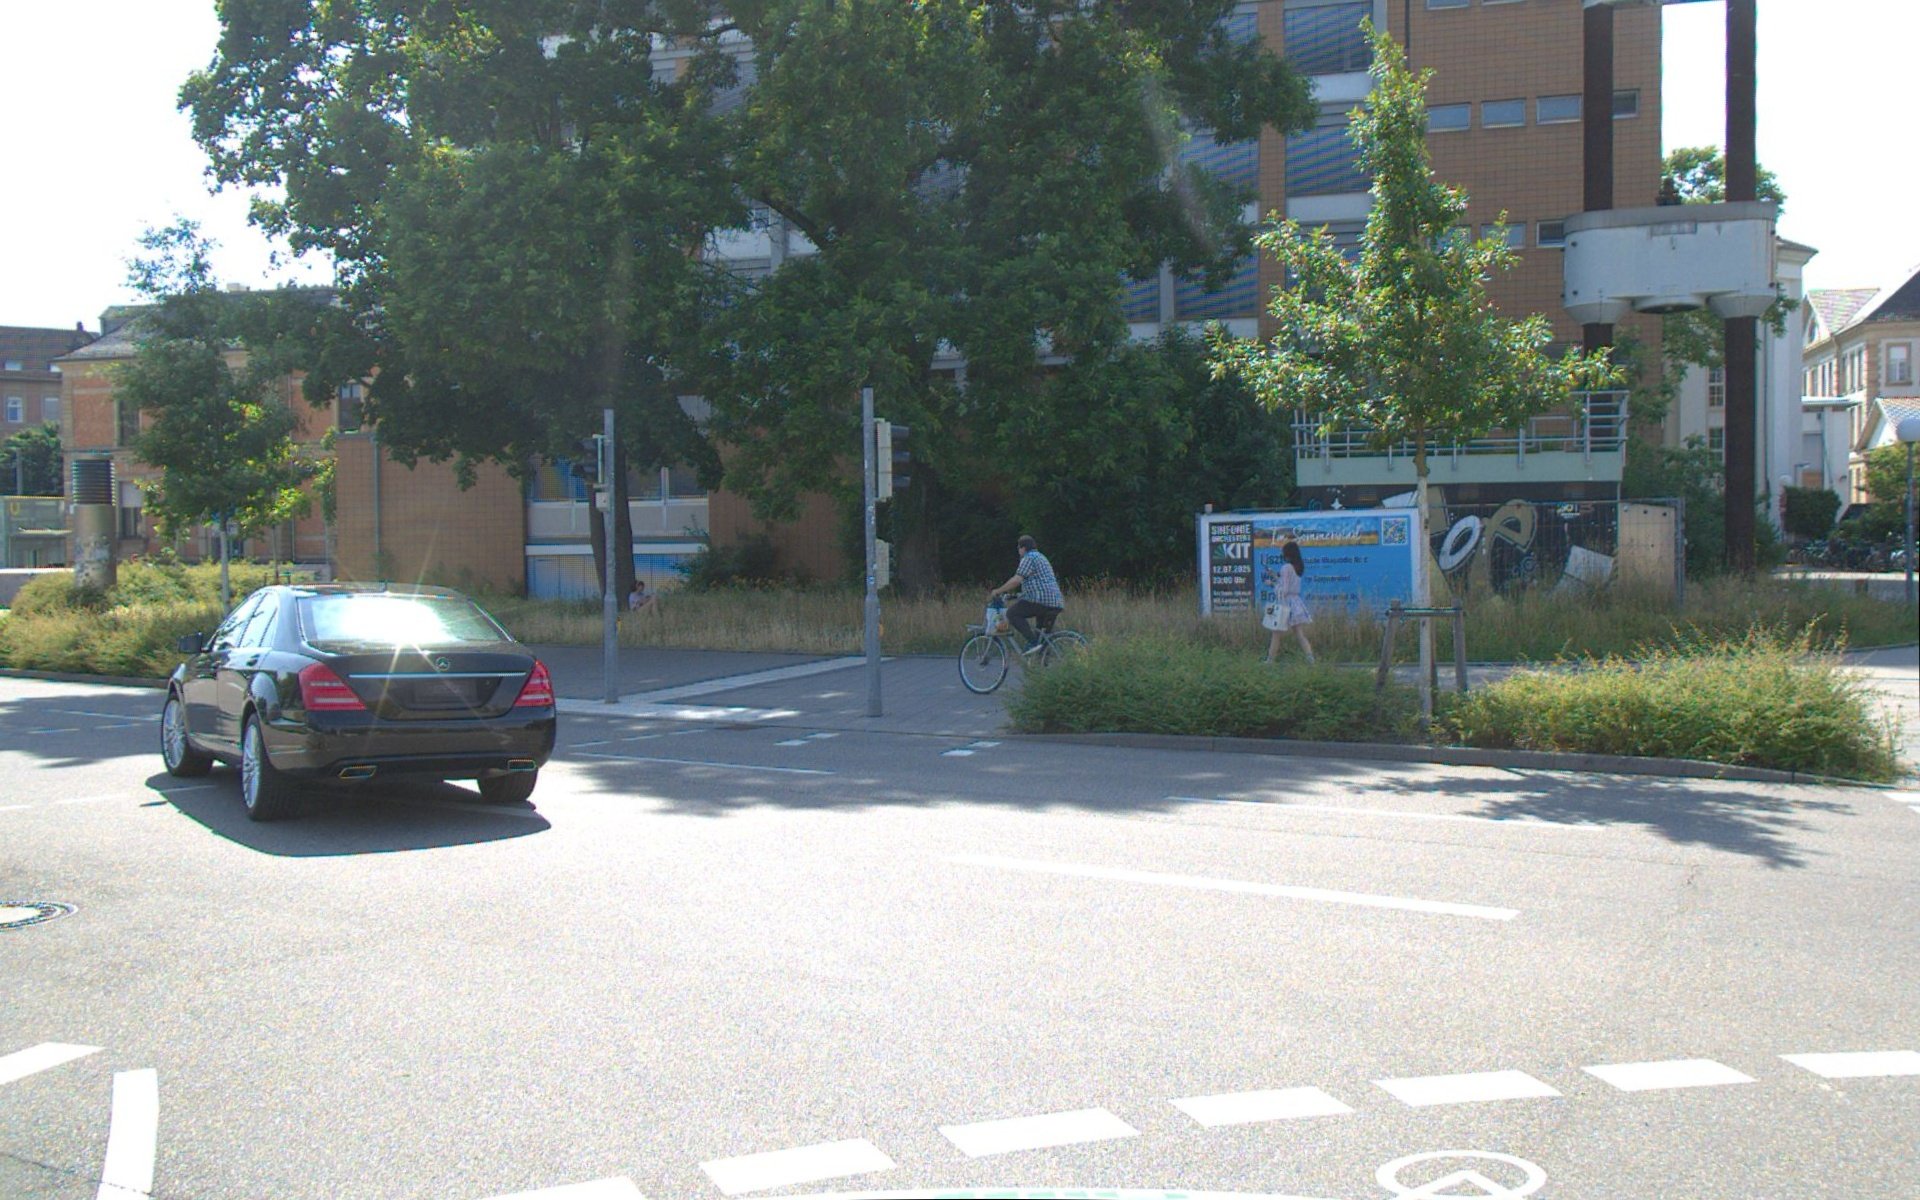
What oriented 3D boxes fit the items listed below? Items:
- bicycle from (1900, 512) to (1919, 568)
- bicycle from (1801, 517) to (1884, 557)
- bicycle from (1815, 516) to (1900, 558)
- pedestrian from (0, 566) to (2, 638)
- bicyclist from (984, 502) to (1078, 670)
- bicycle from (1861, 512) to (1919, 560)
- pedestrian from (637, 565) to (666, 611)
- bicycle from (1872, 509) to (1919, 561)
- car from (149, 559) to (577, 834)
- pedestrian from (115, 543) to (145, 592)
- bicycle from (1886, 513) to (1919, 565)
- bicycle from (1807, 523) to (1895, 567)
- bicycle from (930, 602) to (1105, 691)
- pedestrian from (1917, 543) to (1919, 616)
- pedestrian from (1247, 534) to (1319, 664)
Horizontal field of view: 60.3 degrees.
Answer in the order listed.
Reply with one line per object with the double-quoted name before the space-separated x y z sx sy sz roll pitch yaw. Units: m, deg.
"bicycle" 31.823 -1.952 53.051 2.763 1.774 0.842 -1 2 16
"bicycle" 34.777 -2.497 65.246 2.763 1.506 0.842 -1 2 16
"bicycle" 34.446 -2.405 63.505 2.763 1.526 0.842 -1 2 16
"pedestrian" -24.161 0.057 40.610 0.785 1.755 0.869 0 1 40
"bicyclist" 0.834 -0.168 19.375 0.841 1.911 0.687 0 2 30
"bicycle" 32.439 -2.203 56.548 2.763 1.614 0.842 -1 2 16
"pedestrian" -6.185 -0.237 33.147 0.419 0.907 0.393 0 1 26
"bicycle" 32.231 -2.210 55.493 2.763 1.688 0.842 -1 3 16
"car" -4.542 0.554 12.081 1.843 1.556 4.657 -2 1 -34
"pedestrian" -29.046 -1.137 57.898 0.635 1.690 0.650 0 1 25
"bicycle" 31.996 -2.014 54.209 2.763 1.678 0.842 -1 2 16
"bicycle" 33.241 -2.052 61.736 2.763 1.586 0.842 -1 2 16
"bicycle" 0.672 0.552 19.447 1.914 0.963 0.694 -2 1 29
"pedestrian" 15.953 -0.346 26.667 0.777 1.234 0.757 2 2 23
"pedestrian" 4.082 -0.024 20.872 0.794 1.607 0.692 0 1 19
